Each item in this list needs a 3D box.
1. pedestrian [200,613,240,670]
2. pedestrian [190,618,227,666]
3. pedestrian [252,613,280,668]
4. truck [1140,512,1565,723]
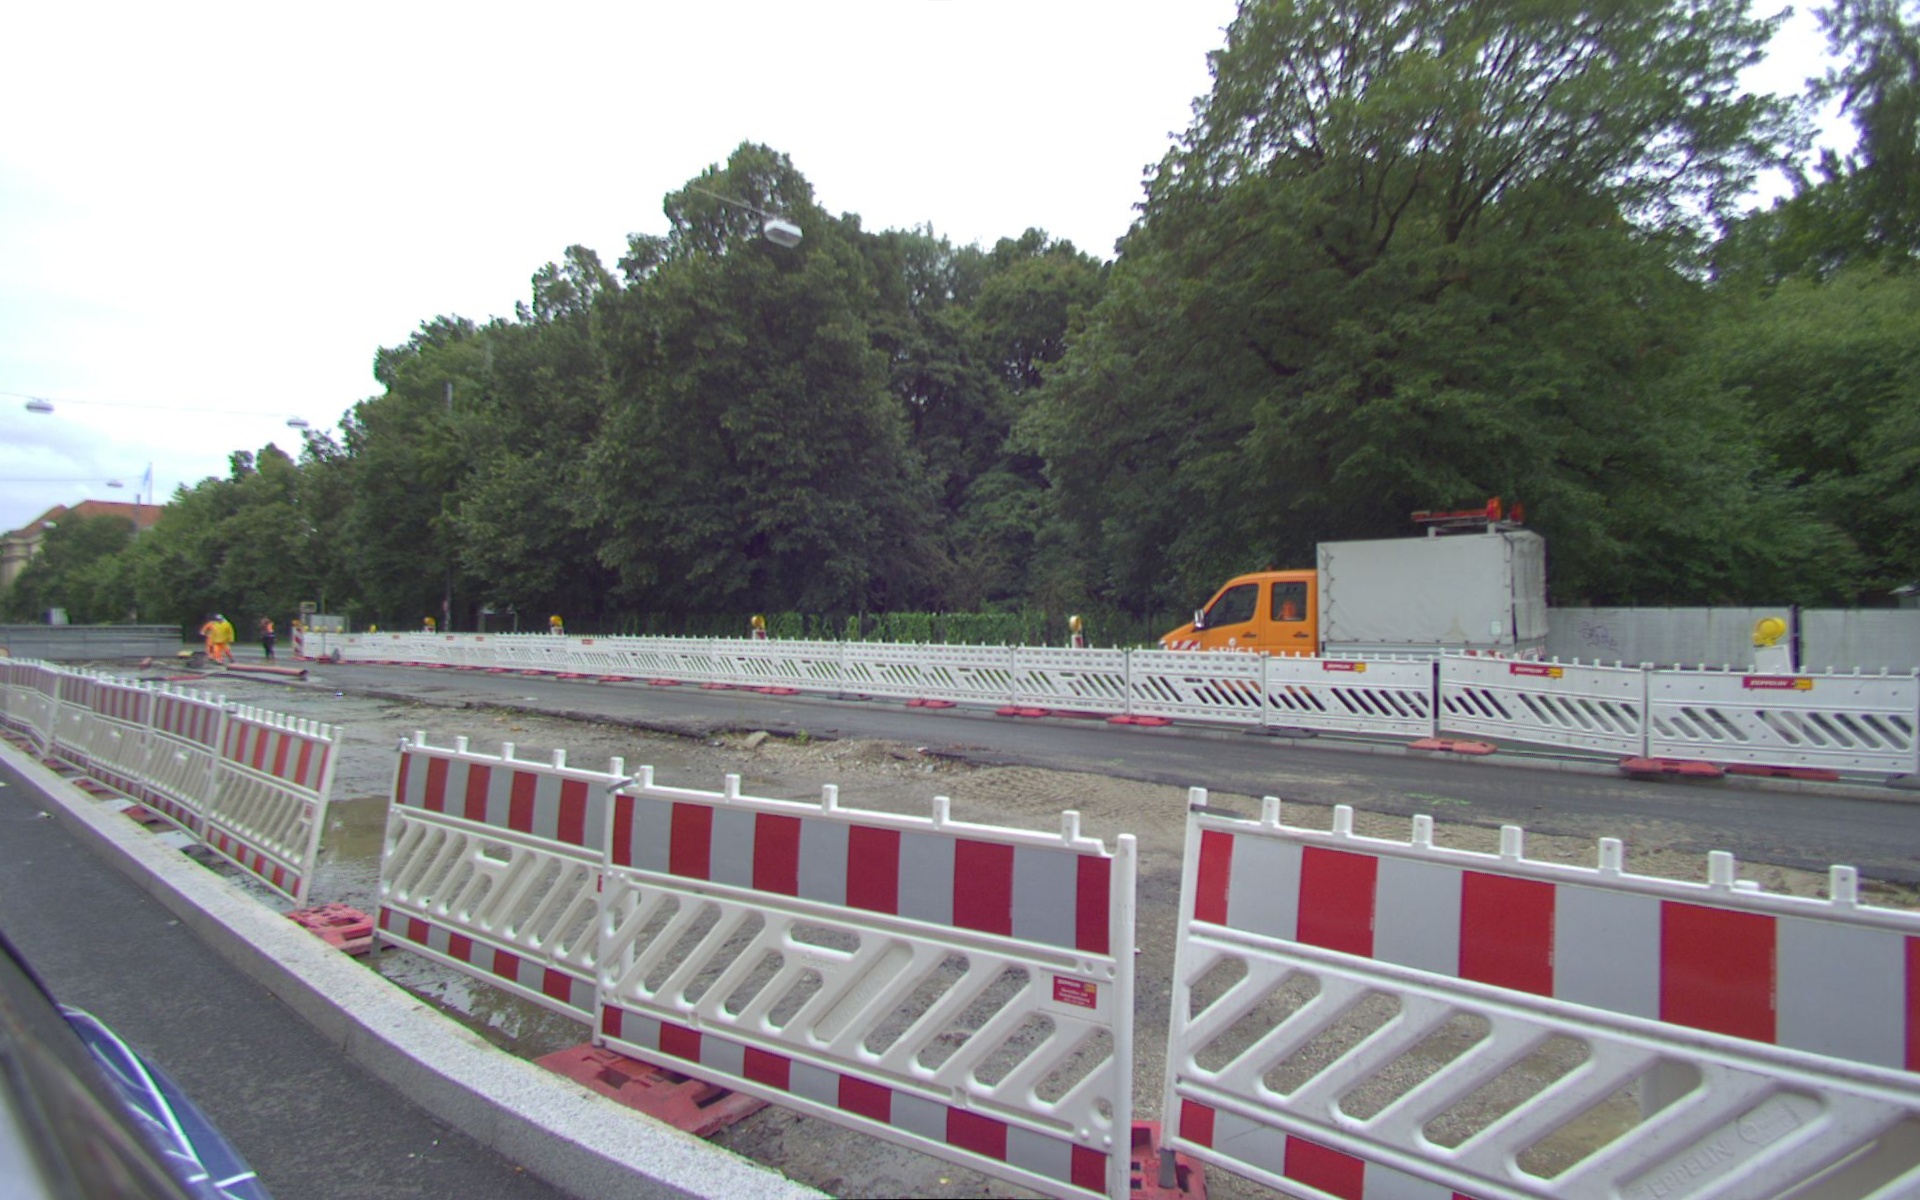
[{"bbox_3d":[-24.765,1.387,33.867,0.845,1.850,0.878,1,-2,-22],"label":"pedestrian"},{"bbox_3d":[-27.162,1.507,36.586,0.911,1.701,0.888,-2,-3,44],"label":"pedestrian"},{"bbox_3d":[-25.088,1.457,36.606,0.657,1.985,0.808,1,-2,-24],"label":"pedestrian"},{"bbox_3d":[6.153,0.320,16.649,6.213,2.871,2.098,-1,-3,44],"label":"truck"}]
